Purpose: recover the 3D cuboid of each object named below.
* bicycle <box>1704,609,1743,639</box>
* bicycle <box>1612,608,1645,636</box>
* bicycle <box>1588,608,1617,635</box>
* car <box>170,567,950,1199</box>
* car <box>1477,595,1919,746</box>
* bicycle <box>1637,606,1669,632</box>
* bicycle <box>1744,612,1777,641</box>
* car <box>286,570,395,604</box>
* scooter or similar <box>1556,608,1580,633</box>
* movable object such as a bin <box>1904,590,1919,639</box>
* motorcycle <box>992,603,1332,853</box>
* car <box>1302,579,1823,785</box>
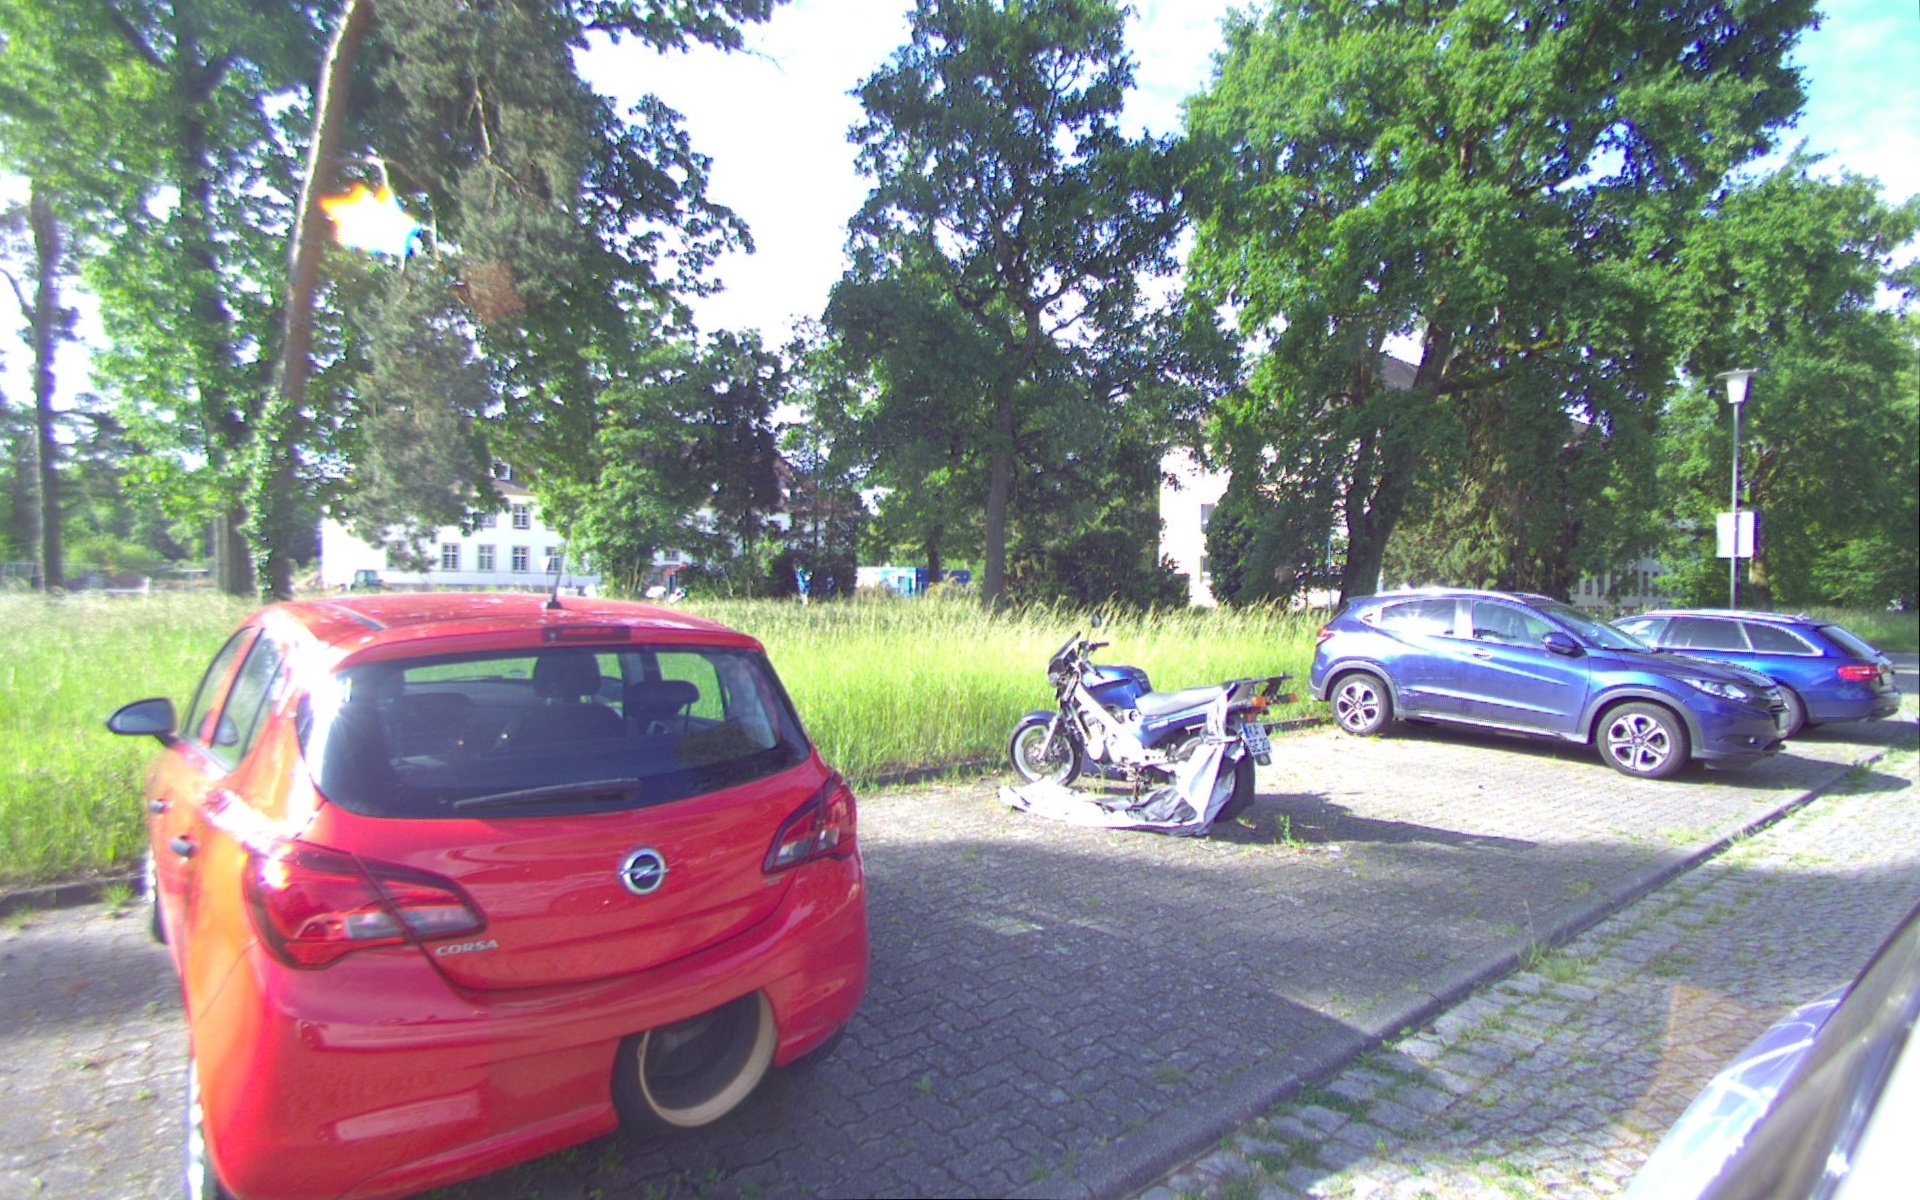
[{"bbox_3d":[27.055,0.845,35.843,1.231,1.029,0.711,1,0,-33],"label":"bicycle"},{"bbox_3d":[25.555,0.840,38.700,1.007,1.029,0.711,1,0,-33],"label":"bicycle"},{"bbox_3d":[24.791,0.828,39.050,1.008,1.029,0.619,1,0,-38],"label":"bicycle"},{"bbox_3d":[-1.885,0.663,3.841,1.616,1.497,3.835,1,2,-40],"label":"car"},{"bbox_3d":[9.384,0.751,13.123,1.682,1.425,4.463,1,2,-37],"label":"car"},{"bbox_3d":[28.447,0.775,41.557,0.700,1.029,1.023,1,0,12],"label":"bicycle"},{"bbox_3d":[27.966,0.910,35.362,1.121,0.946,0.746,0,1,-43],"label":"bicycle"},{"bbox_3d":[-41.718,-0.911,68.338,5.888,2.198,2.381,-1,1,-18],"label":"car"},{"bbox_3d":[23.682,0.805,39.408,0.767,0.941,0.257,1,0,45],"label":"scooter or similar"},{"bbox_3d":[36.669,0.584,35.416,1.959,1.781,4.949,1,1,-25],"label":"movable object such as a bin"},{"bbox_3d":[1.258,0.729,6.863,0.713,1.336,2.305,1,1,-40],"label":"motorcycle"},{"bbox_3d":[5.810,0.622,10.206,1.720,1.611,4.185,1,1,-40],"label":"car"}]
